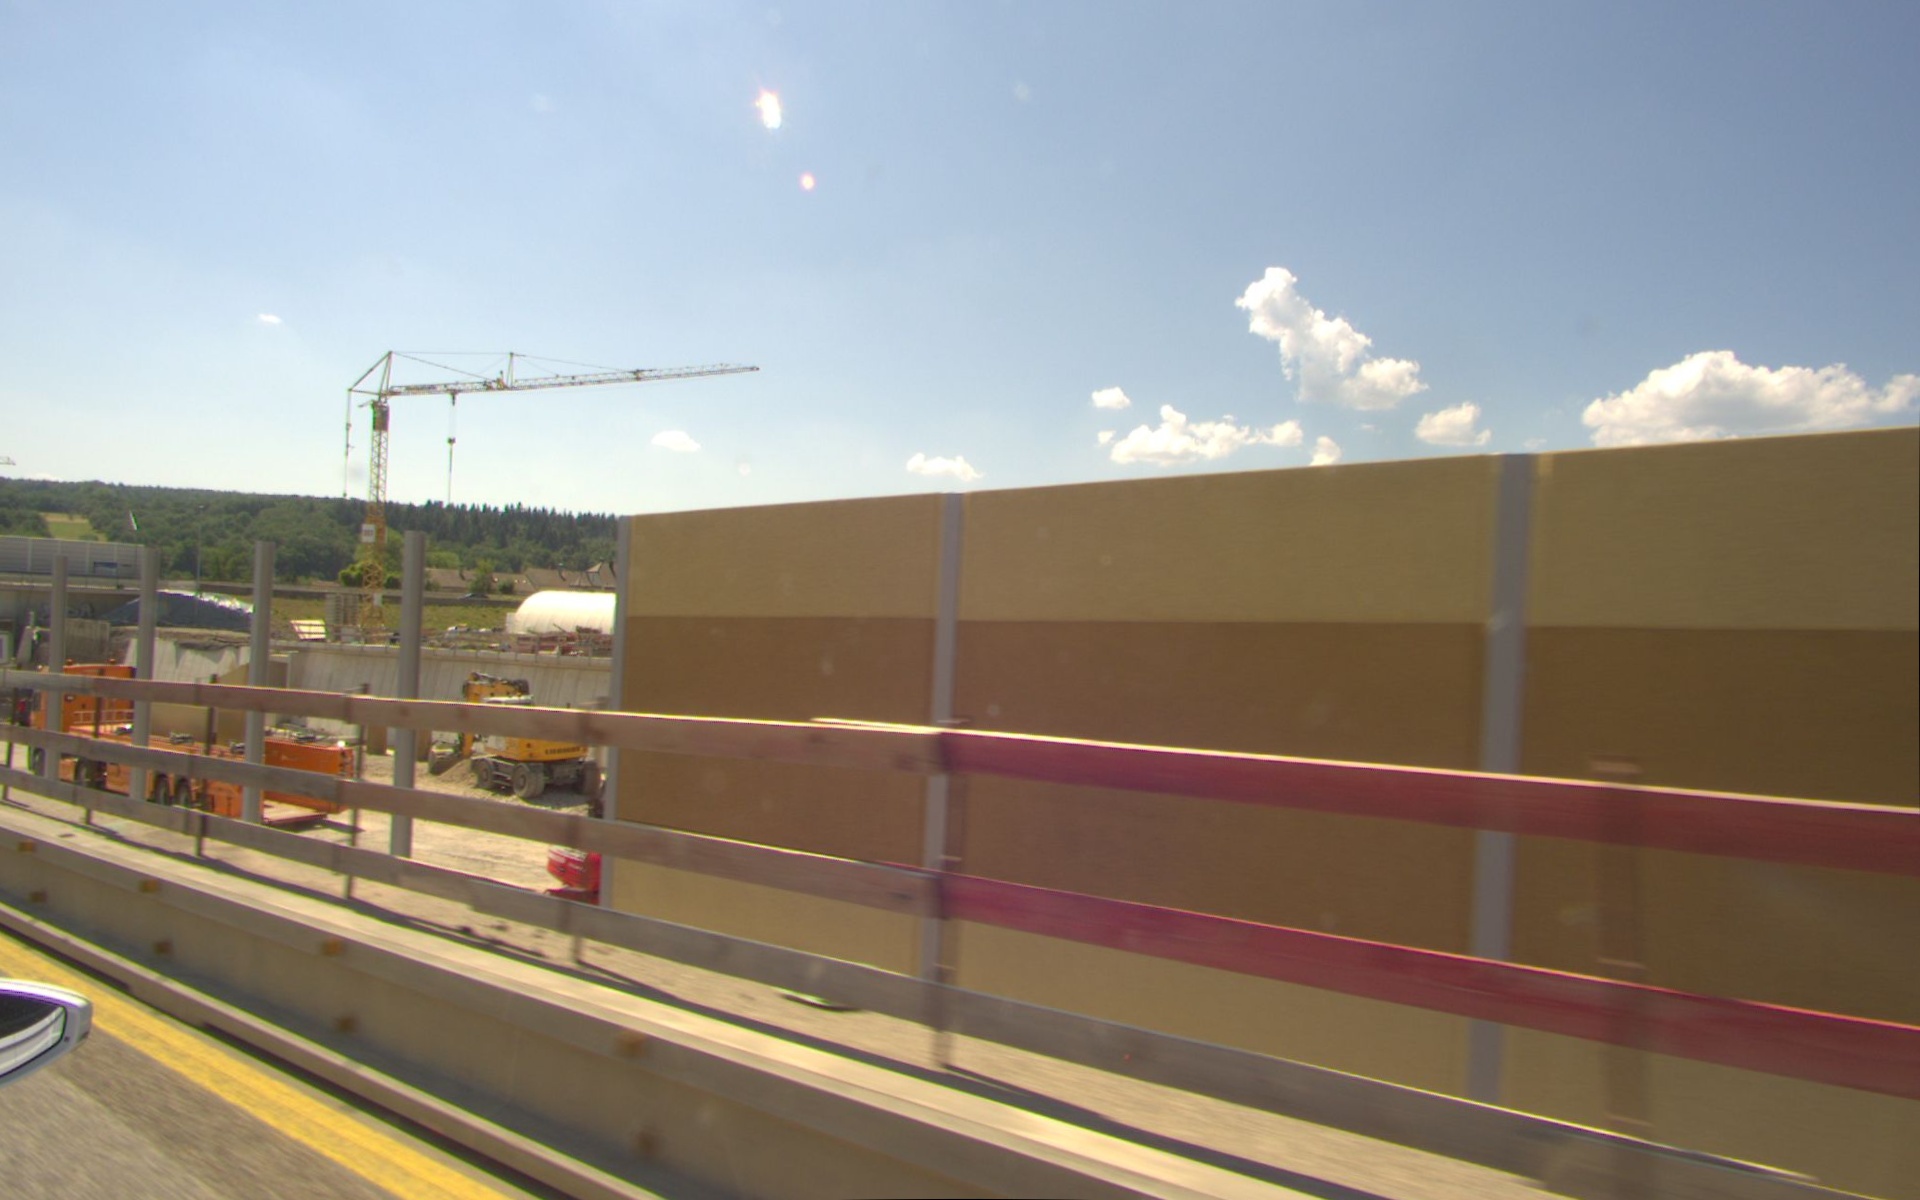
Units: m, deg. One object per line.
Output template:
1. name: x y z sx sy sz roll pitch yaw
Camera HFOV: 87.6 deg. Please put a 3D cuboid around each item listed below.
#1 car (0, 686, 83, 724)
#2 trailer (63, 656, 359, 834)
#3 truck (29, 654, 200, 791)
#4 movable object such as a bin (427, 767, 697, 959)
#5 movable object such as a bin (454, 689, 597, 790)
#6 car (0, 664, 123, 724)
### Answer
1. car: -49.663 5.519 52.813 1.972 1.796 4.721 2 -2 33
2. trailer: -22.099 3.788 29.065 12.867 3.936 2.753 0 -1 34
3. truck: -27.757 3.830 32.845 5.800 3.936 2.753 0 -1 34
4. movable object such as a bin: -7.230 4.530 18.070 4.754 2.461 2.165 -1 -4 34
5. movable object such as a bin: -15.042 4.700 34.599 4.755 3.061 2.276 -1 -3 34
6. car: -44.767 4.493 48.357 2.486 2.617 6.097 2 -2 23
